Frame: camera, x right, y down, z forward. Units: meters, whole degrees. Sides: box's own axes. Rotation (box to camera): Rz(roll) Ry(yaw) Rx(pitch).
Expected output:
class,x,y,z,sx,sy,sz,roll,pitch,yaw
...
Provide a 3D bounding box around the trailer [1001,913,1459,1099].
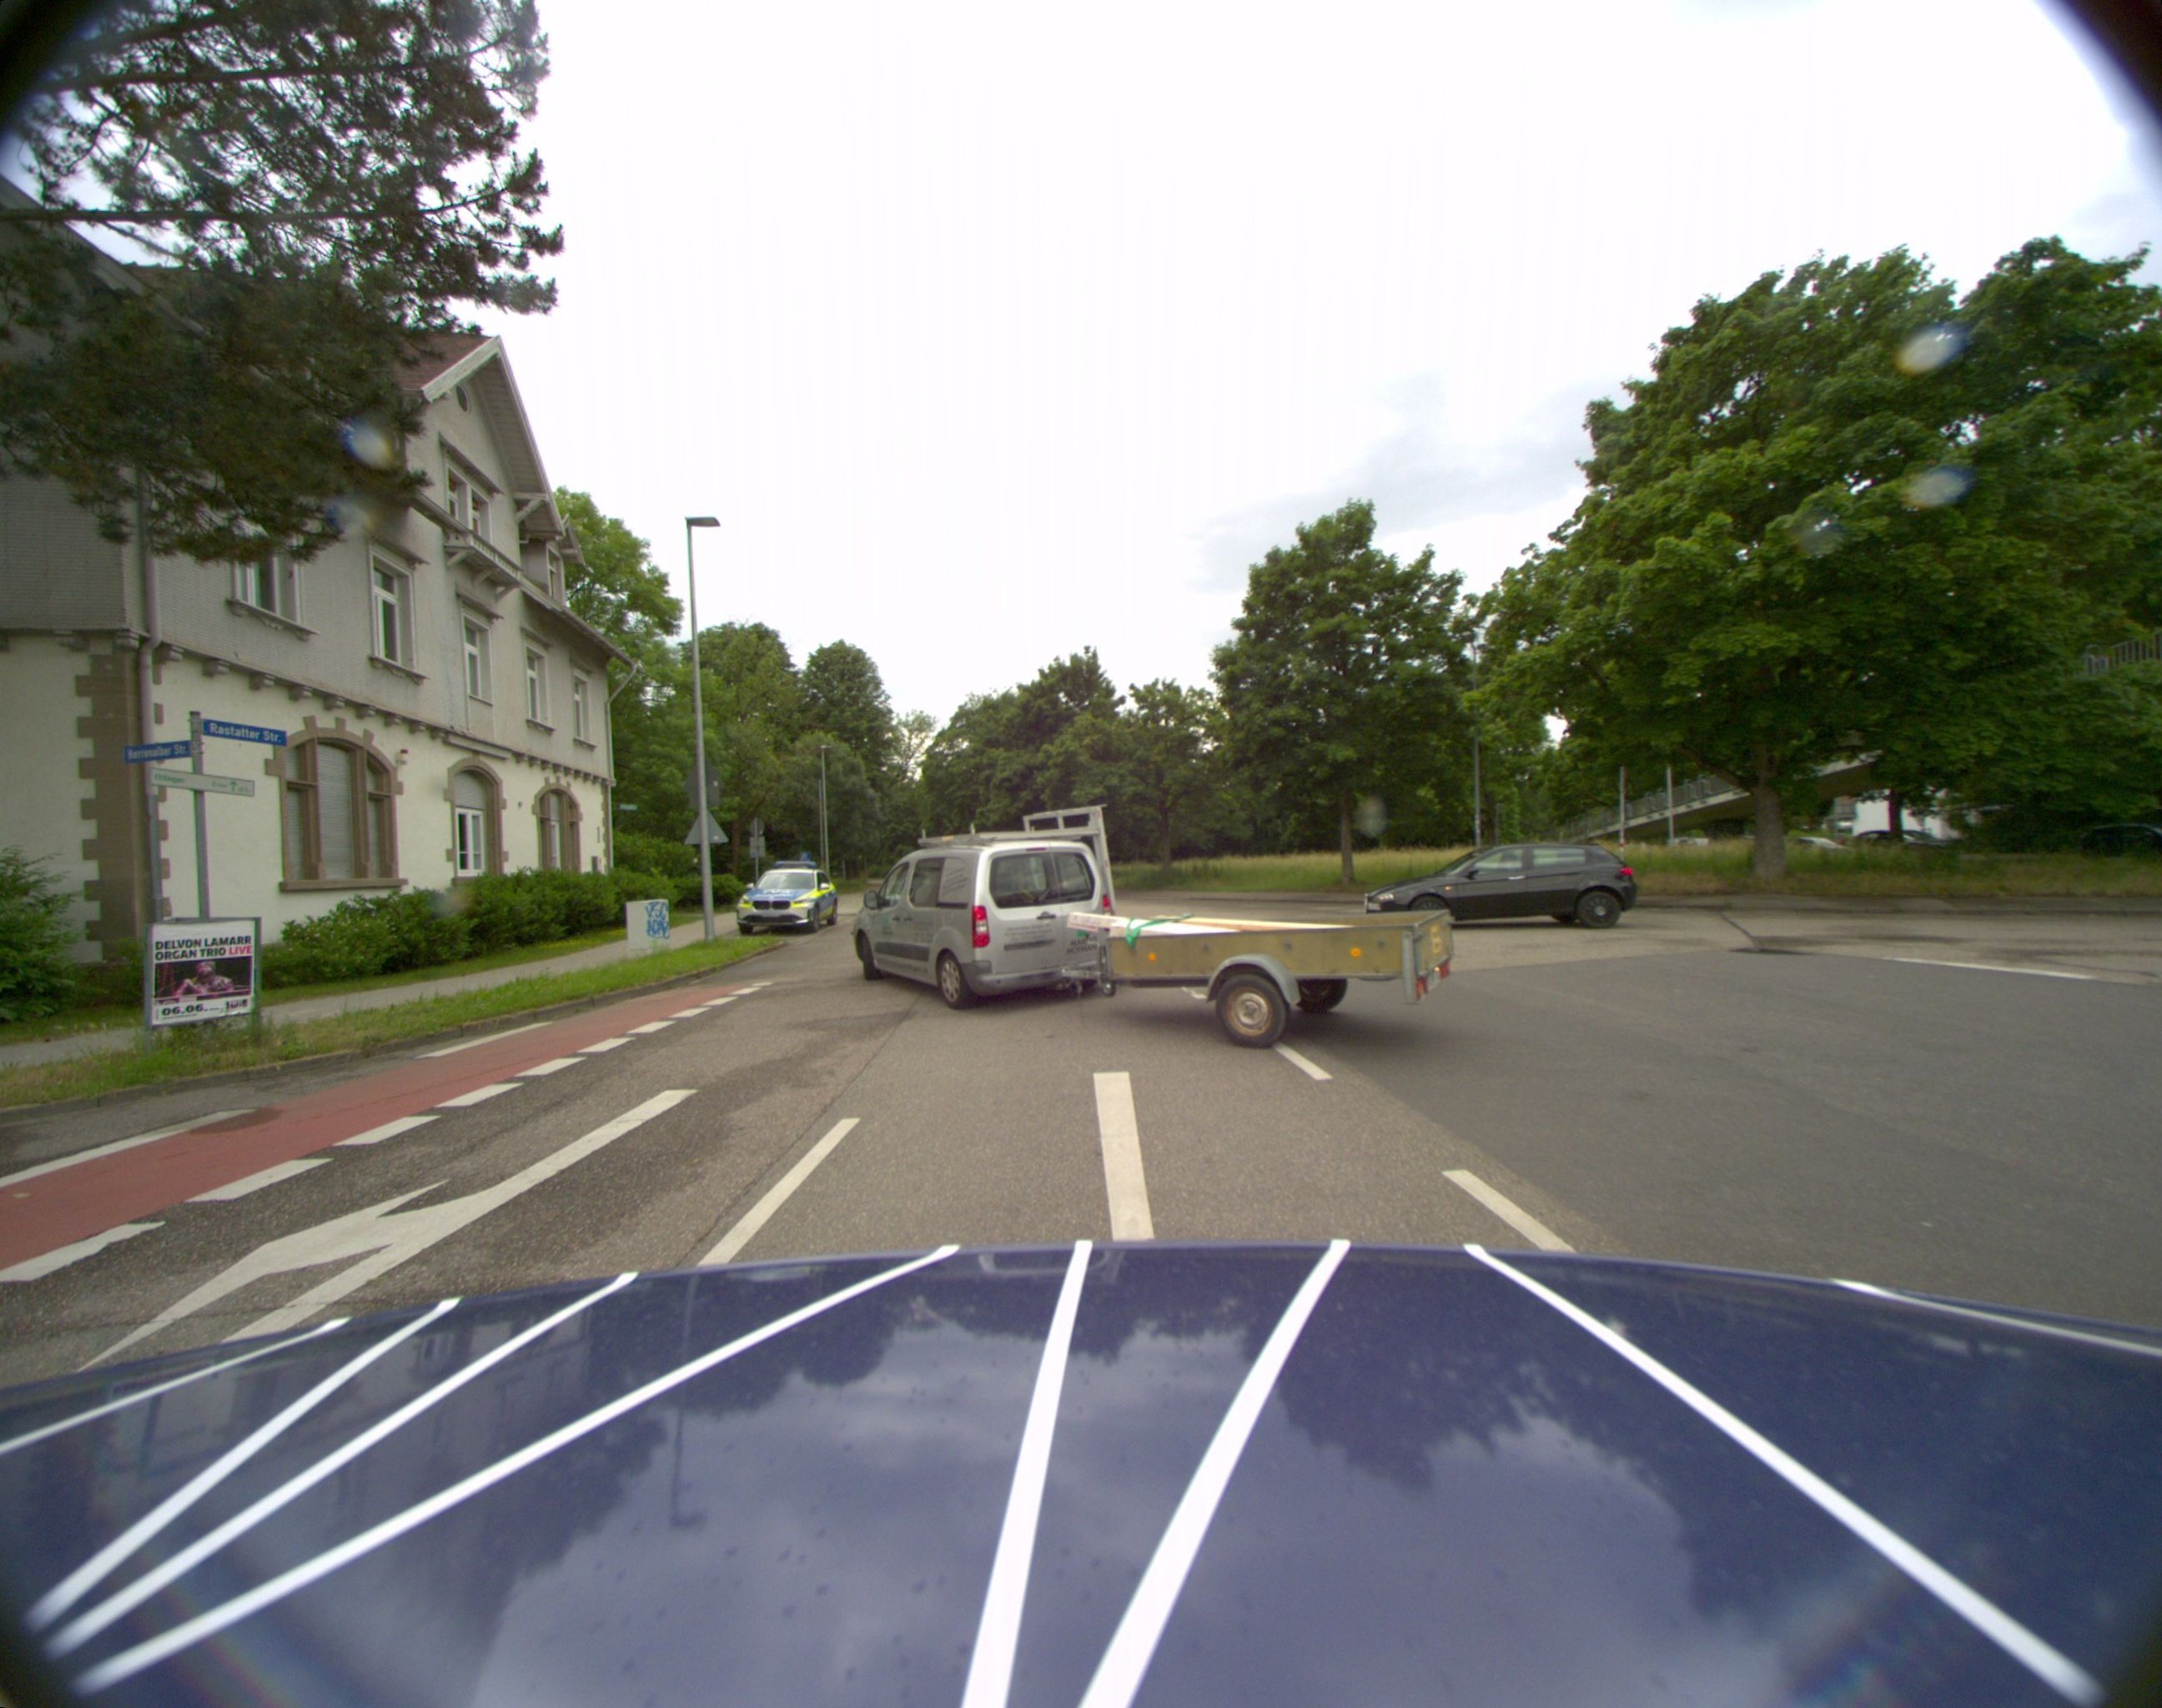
class,x,y,z,sx,sy,sz,roll,pitch,yaw
trailer,1.193,1.099,6.456,3.455,0.980,1.575,-1,1,32

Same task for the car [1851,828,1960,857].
class,x,y,z,sx,sy,sz,roll,pitch,yaw
car,41.828,-0.576,38.683,1.692,1.343,4.003,-2,0,11

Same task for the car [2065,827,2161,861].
class,x,y,z,sx,sy,sz,roll,pitch,yaw
car,40.407,-0.395,28.704,1.692,1.231,4.003,-2,0,11

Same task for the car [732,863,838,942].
class,x,y,z,sx,sy,sz,roll,pitch,yaw
car,-7.612,1.154,19.922,1.937,1.839,3.996,0,0,-12

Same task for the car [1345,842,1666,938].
class,x,y,z,sx,sy,sz,roll,pitch,yaw
car,7.082,0.611,13.214,4.532,1.448,1.805,-2,0,15

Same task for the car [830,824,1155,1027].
class,x,y,z,sx,sy,sz,roll,pitch,yaw
car,-1.309,0.661,9.253,2.098,1.847,4.211,-2,0,-36
